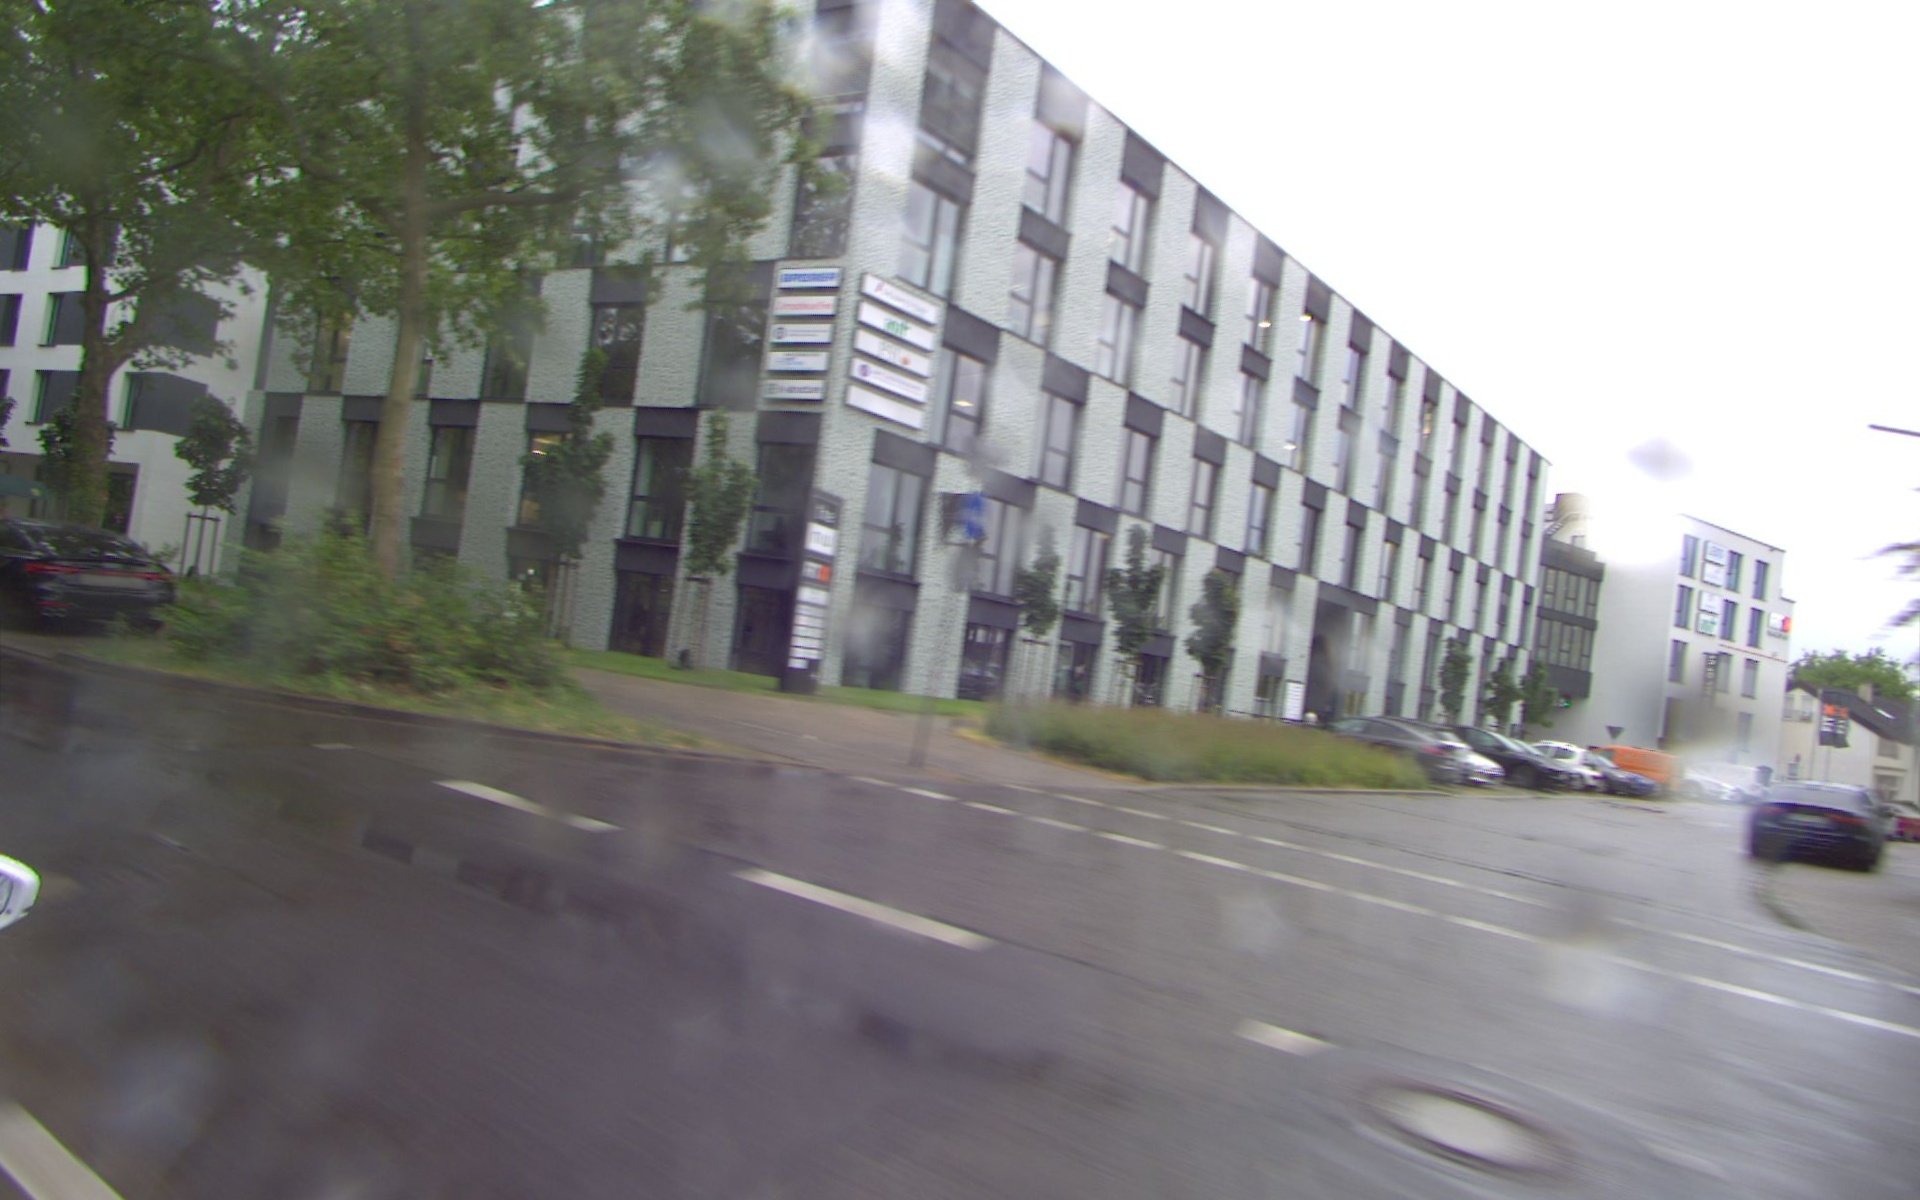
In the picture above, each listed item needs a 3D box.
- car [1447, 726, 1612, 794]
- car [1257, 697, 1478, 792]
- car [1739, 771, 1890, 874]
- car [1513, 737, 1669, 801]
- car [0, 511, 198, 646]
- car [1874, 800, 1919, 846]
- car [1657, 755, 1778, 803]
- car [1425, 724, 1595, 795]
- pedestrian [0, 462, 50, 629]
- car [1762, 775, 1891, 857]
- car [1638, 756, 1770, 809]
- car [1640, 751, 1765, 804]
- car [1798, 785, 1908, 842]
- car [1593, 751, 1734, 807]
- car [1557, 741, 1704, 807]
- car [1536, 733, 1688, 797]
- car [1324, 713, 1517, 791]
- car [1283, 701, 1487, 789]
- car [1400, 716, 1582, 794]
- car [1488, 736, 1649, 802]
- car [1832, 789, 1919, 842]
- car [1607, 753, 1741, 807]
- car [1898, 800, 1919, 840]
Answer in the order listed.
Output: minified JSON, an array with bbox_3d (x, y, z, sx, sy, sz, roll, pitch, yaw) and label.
[{"bbox_3d":[20.270,5.680,35.943,1.884,1.547,4.672,10,-3,-44],"label":"car"},{"bbox_3d":[10.115,3.589,25.262,1.884,1.547,4.672,10,-3,-44],"label":"car"},{"bbox_3d":[16.445,4.204,19.274,1.872,1.521,4.286,0,-8,45],"label":"car"},{"bbox_3d":[24.206,6.469,38.709,1.884,1.547,4.672,10,-3,-44],"label":"car"},{"bbox_3d":[-12.750,-0.420,13.893,4.786,1.444,1.748,6,-2,30],"label":"car"},{"bbox_3d":[36.654,8.563,38.530,3.937,1.484,1.876,10,-6,-39],"label":"car"},{"bbox_3d":[38.957,9.190,51.814,1.884,1.547,4.672,10,-3,-44],"label":"car"},{"bbox_3d":[18.702,5.412,34.369,1.884,1.522,4.672,10,-3,-44],"label":"car"},{"bbox_3d":[-12.199,-0.710,12.444,0.819,2.037,0.899,7,-1,-9],"label":"pedestrian"},{"bbox_3d":[20.658,5.077,23.911,4.281,1.545,1.873,10,-7,-43],"label":"car"},{"bbox_3d":[35.012,8.579,47.438,1.884,1.547,4.672,10,-3,-44],"label":"car"},{"bbox_3d":[37.026,8.837,50.227,1.884,1.748,4.672,10,-3,-44],"label":"car"},{"bbox_3d":[28.971,6.902,32.612,4.272,1.484,1.877,9,-6,-37],"label":"car"},{"bbox_3d":[30.775,7.808,44.113,1.930,1.547,4.672,10,-3,-44],"label":"car"},{"bbox_3d":[27.942,7.230,42.022,1.884,1.866,4.672,10,-3,-44],"label":"car"},{"bbox_3d":[26.044,6.581,40.298,1.884,1.680,4.672,10,-3,-44],"label":"car"},{"bbox_3d":[13.369,4.393,29.403,1.884,1.429,4.672,10,-3,-44],"label":"car"},{"bbox_3d":[11.532,3.929,27.543,1.884,1.547,4.671,11,-4,-44],"label":"car"},{"bbox_3d":[16.887,4.915,32.181,1.884,1.634,4.672,10,-3,-44],"label":"car"},{"bbox_3d":[22.505,6.238,37.340,1.884,1.547,4.672,10,-3,-44],"label":"car"},{"bbox_3d":[32.592,7.582,35.325,4.266,1.484,1.880,9,-6,-33],"label":"car"},{"bbox_3d":[32.805,8.236,46.315,1.884,1.547,4.672,10,-3,-44],"label":"car"},{"bbox_3d":[40.285,9.127,41.403,4.275,1.484,1.876,10,-6,-39],"label":"car"}]
